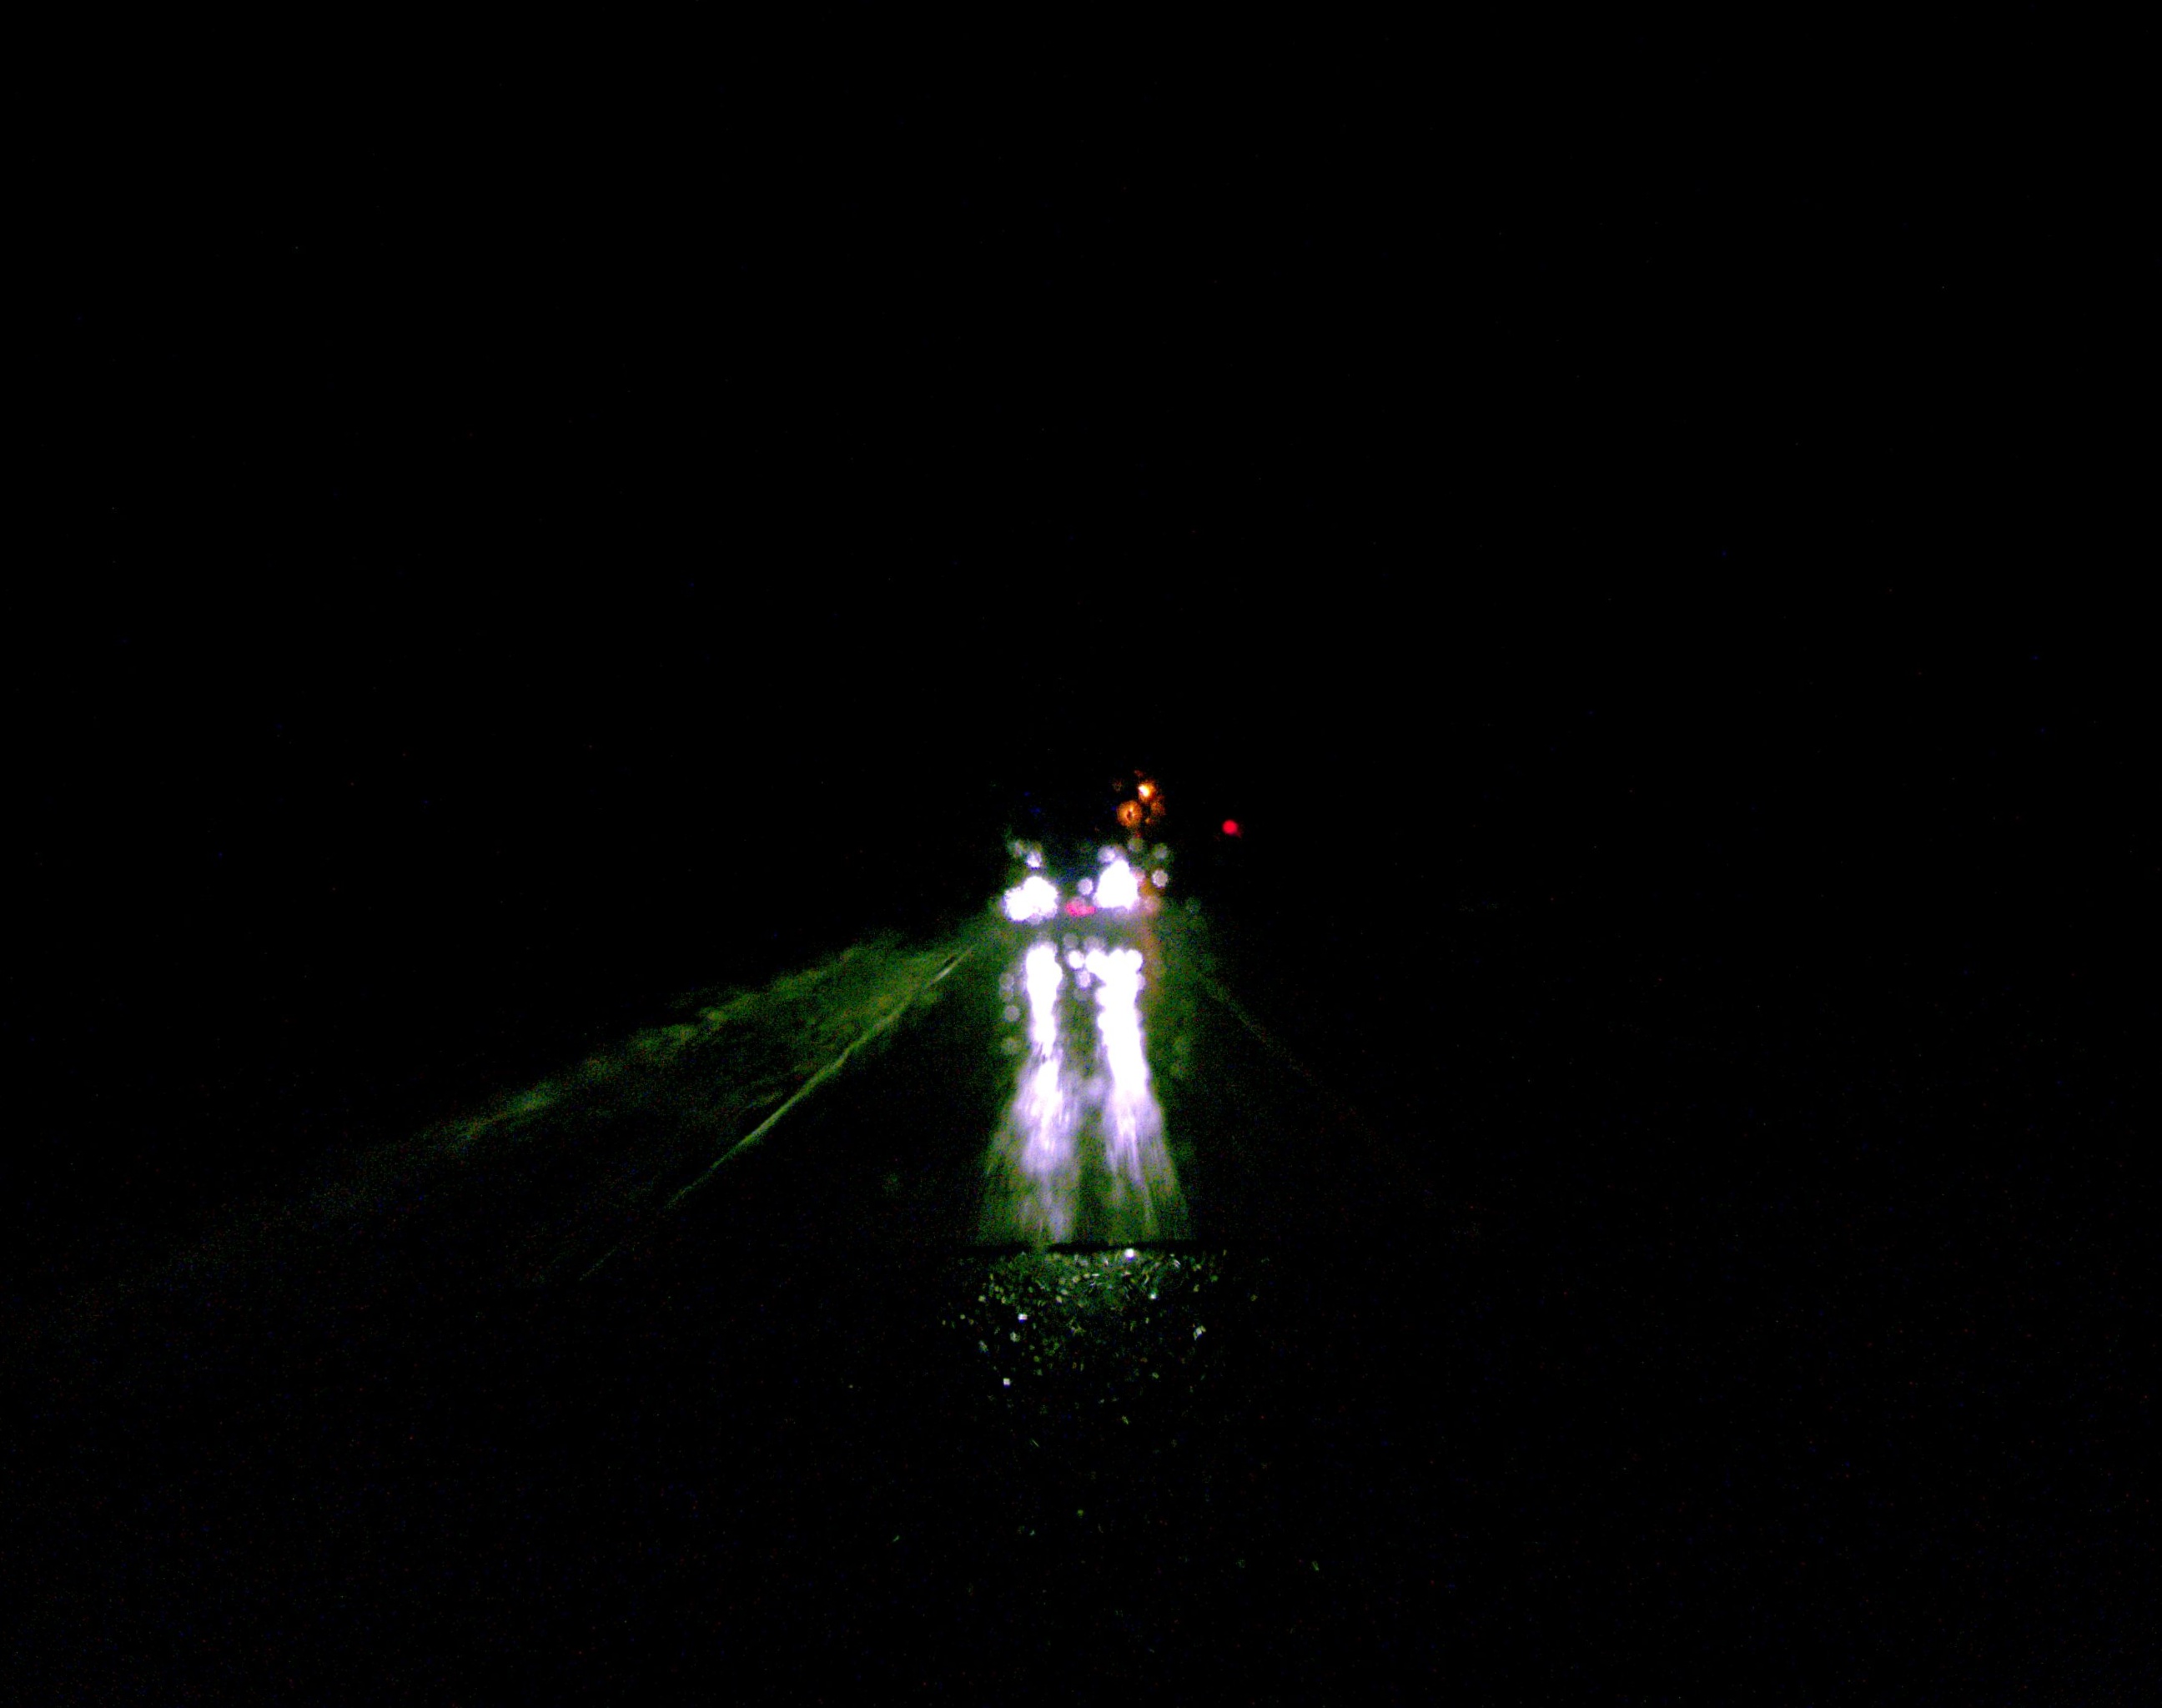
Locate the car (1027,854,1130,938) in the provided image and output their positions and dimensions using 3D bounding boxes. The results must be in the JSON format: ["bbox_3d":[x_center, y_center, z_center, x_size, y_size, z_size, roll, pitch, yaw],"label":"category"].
[{"bbox_3d":[0.001,0.803,16.840,1.944,1.580,4.775,-1,0,1],"label":"car"}]
